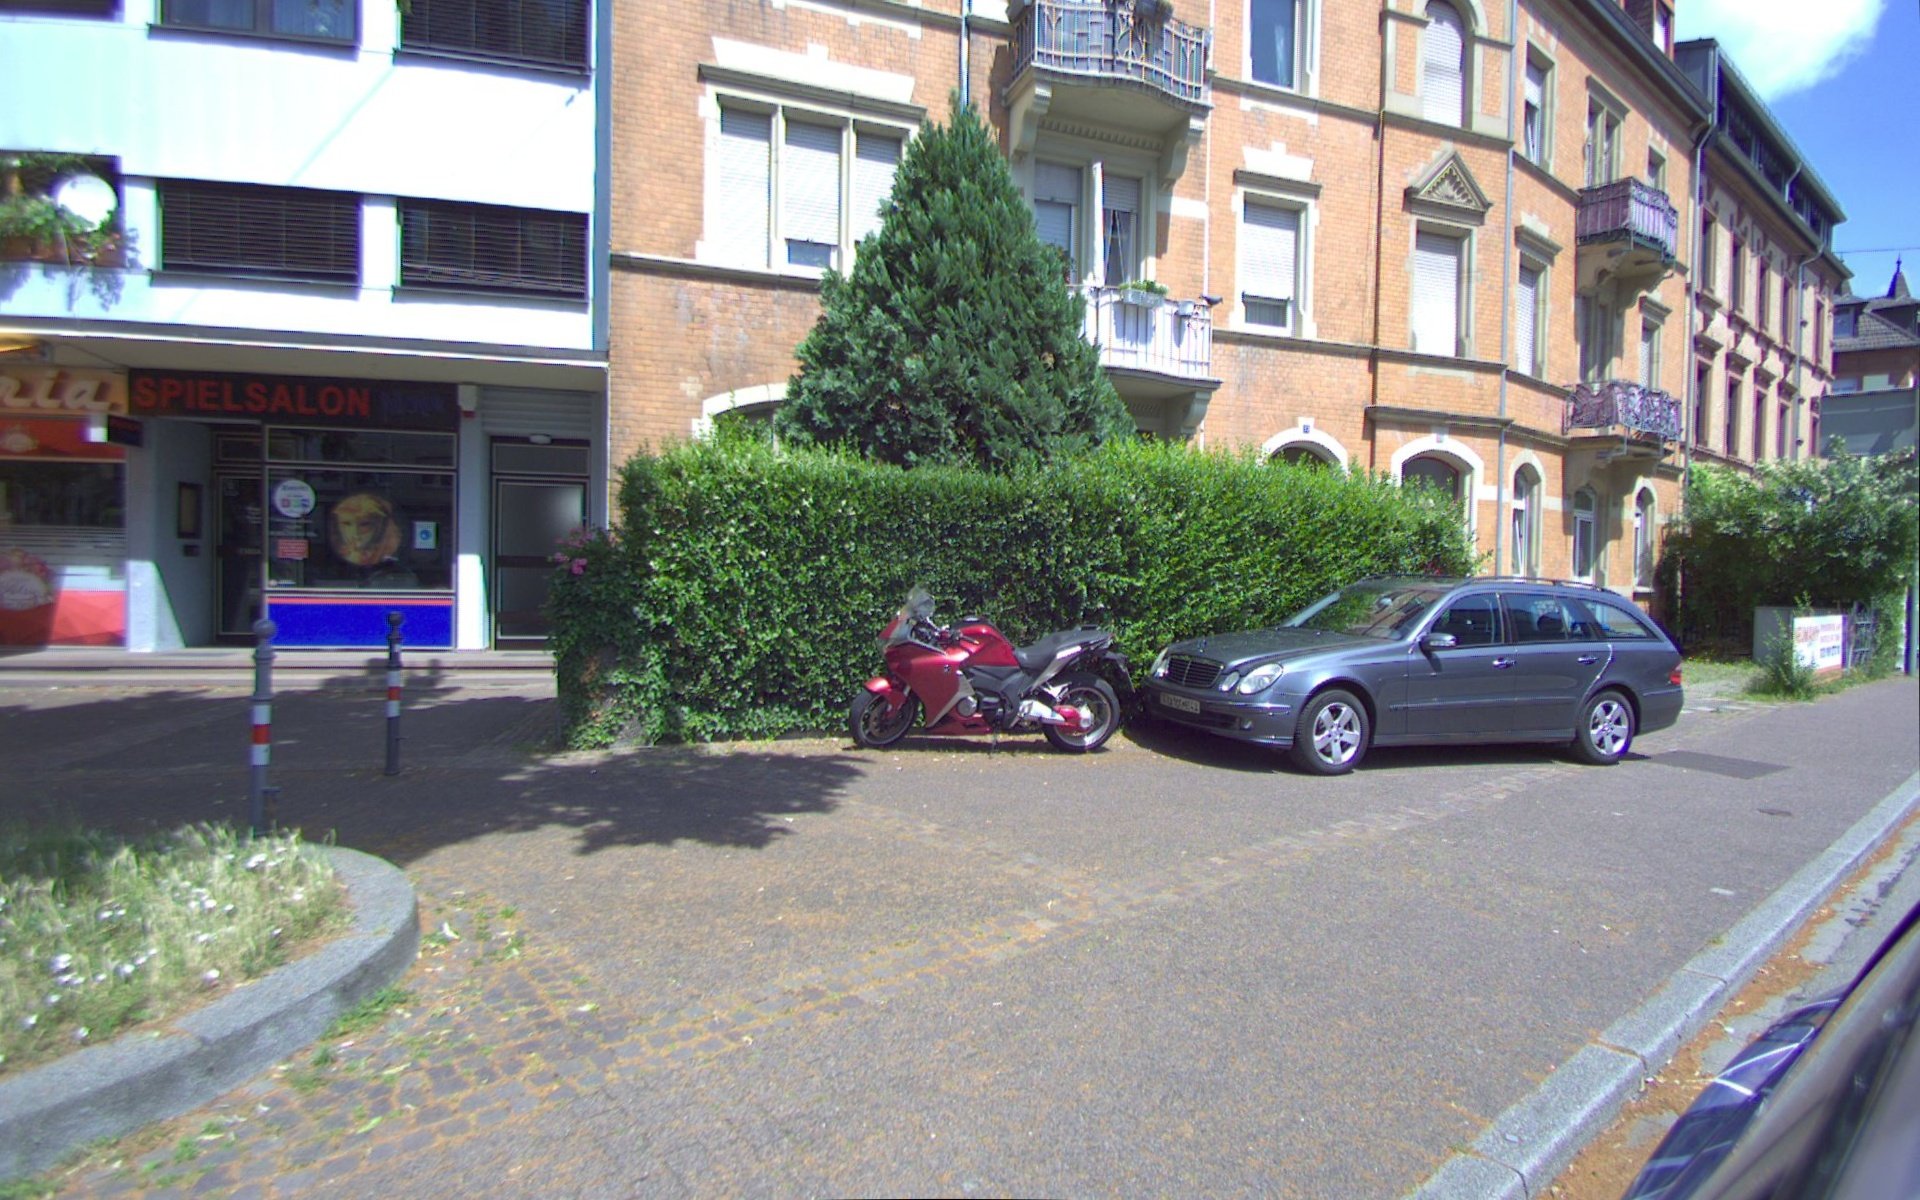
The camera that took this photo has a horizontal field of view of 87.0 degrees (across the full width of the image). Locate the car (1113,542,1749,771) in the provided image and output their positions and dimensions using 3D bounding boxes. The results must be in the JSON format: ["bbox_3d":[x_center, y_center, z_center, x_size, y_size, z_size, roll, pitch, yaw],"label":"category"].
[{"bbox_3d":[4.022,0.423,8.640,5.047,1.567,1.845,2,1,-20],"label":"car"}]

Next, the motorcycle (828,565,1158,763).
[{"bbox_3d":[0.232,0.444,7.567,2.232,1.318,0.935,2,1,-19],"label":"motorcycle"}]
